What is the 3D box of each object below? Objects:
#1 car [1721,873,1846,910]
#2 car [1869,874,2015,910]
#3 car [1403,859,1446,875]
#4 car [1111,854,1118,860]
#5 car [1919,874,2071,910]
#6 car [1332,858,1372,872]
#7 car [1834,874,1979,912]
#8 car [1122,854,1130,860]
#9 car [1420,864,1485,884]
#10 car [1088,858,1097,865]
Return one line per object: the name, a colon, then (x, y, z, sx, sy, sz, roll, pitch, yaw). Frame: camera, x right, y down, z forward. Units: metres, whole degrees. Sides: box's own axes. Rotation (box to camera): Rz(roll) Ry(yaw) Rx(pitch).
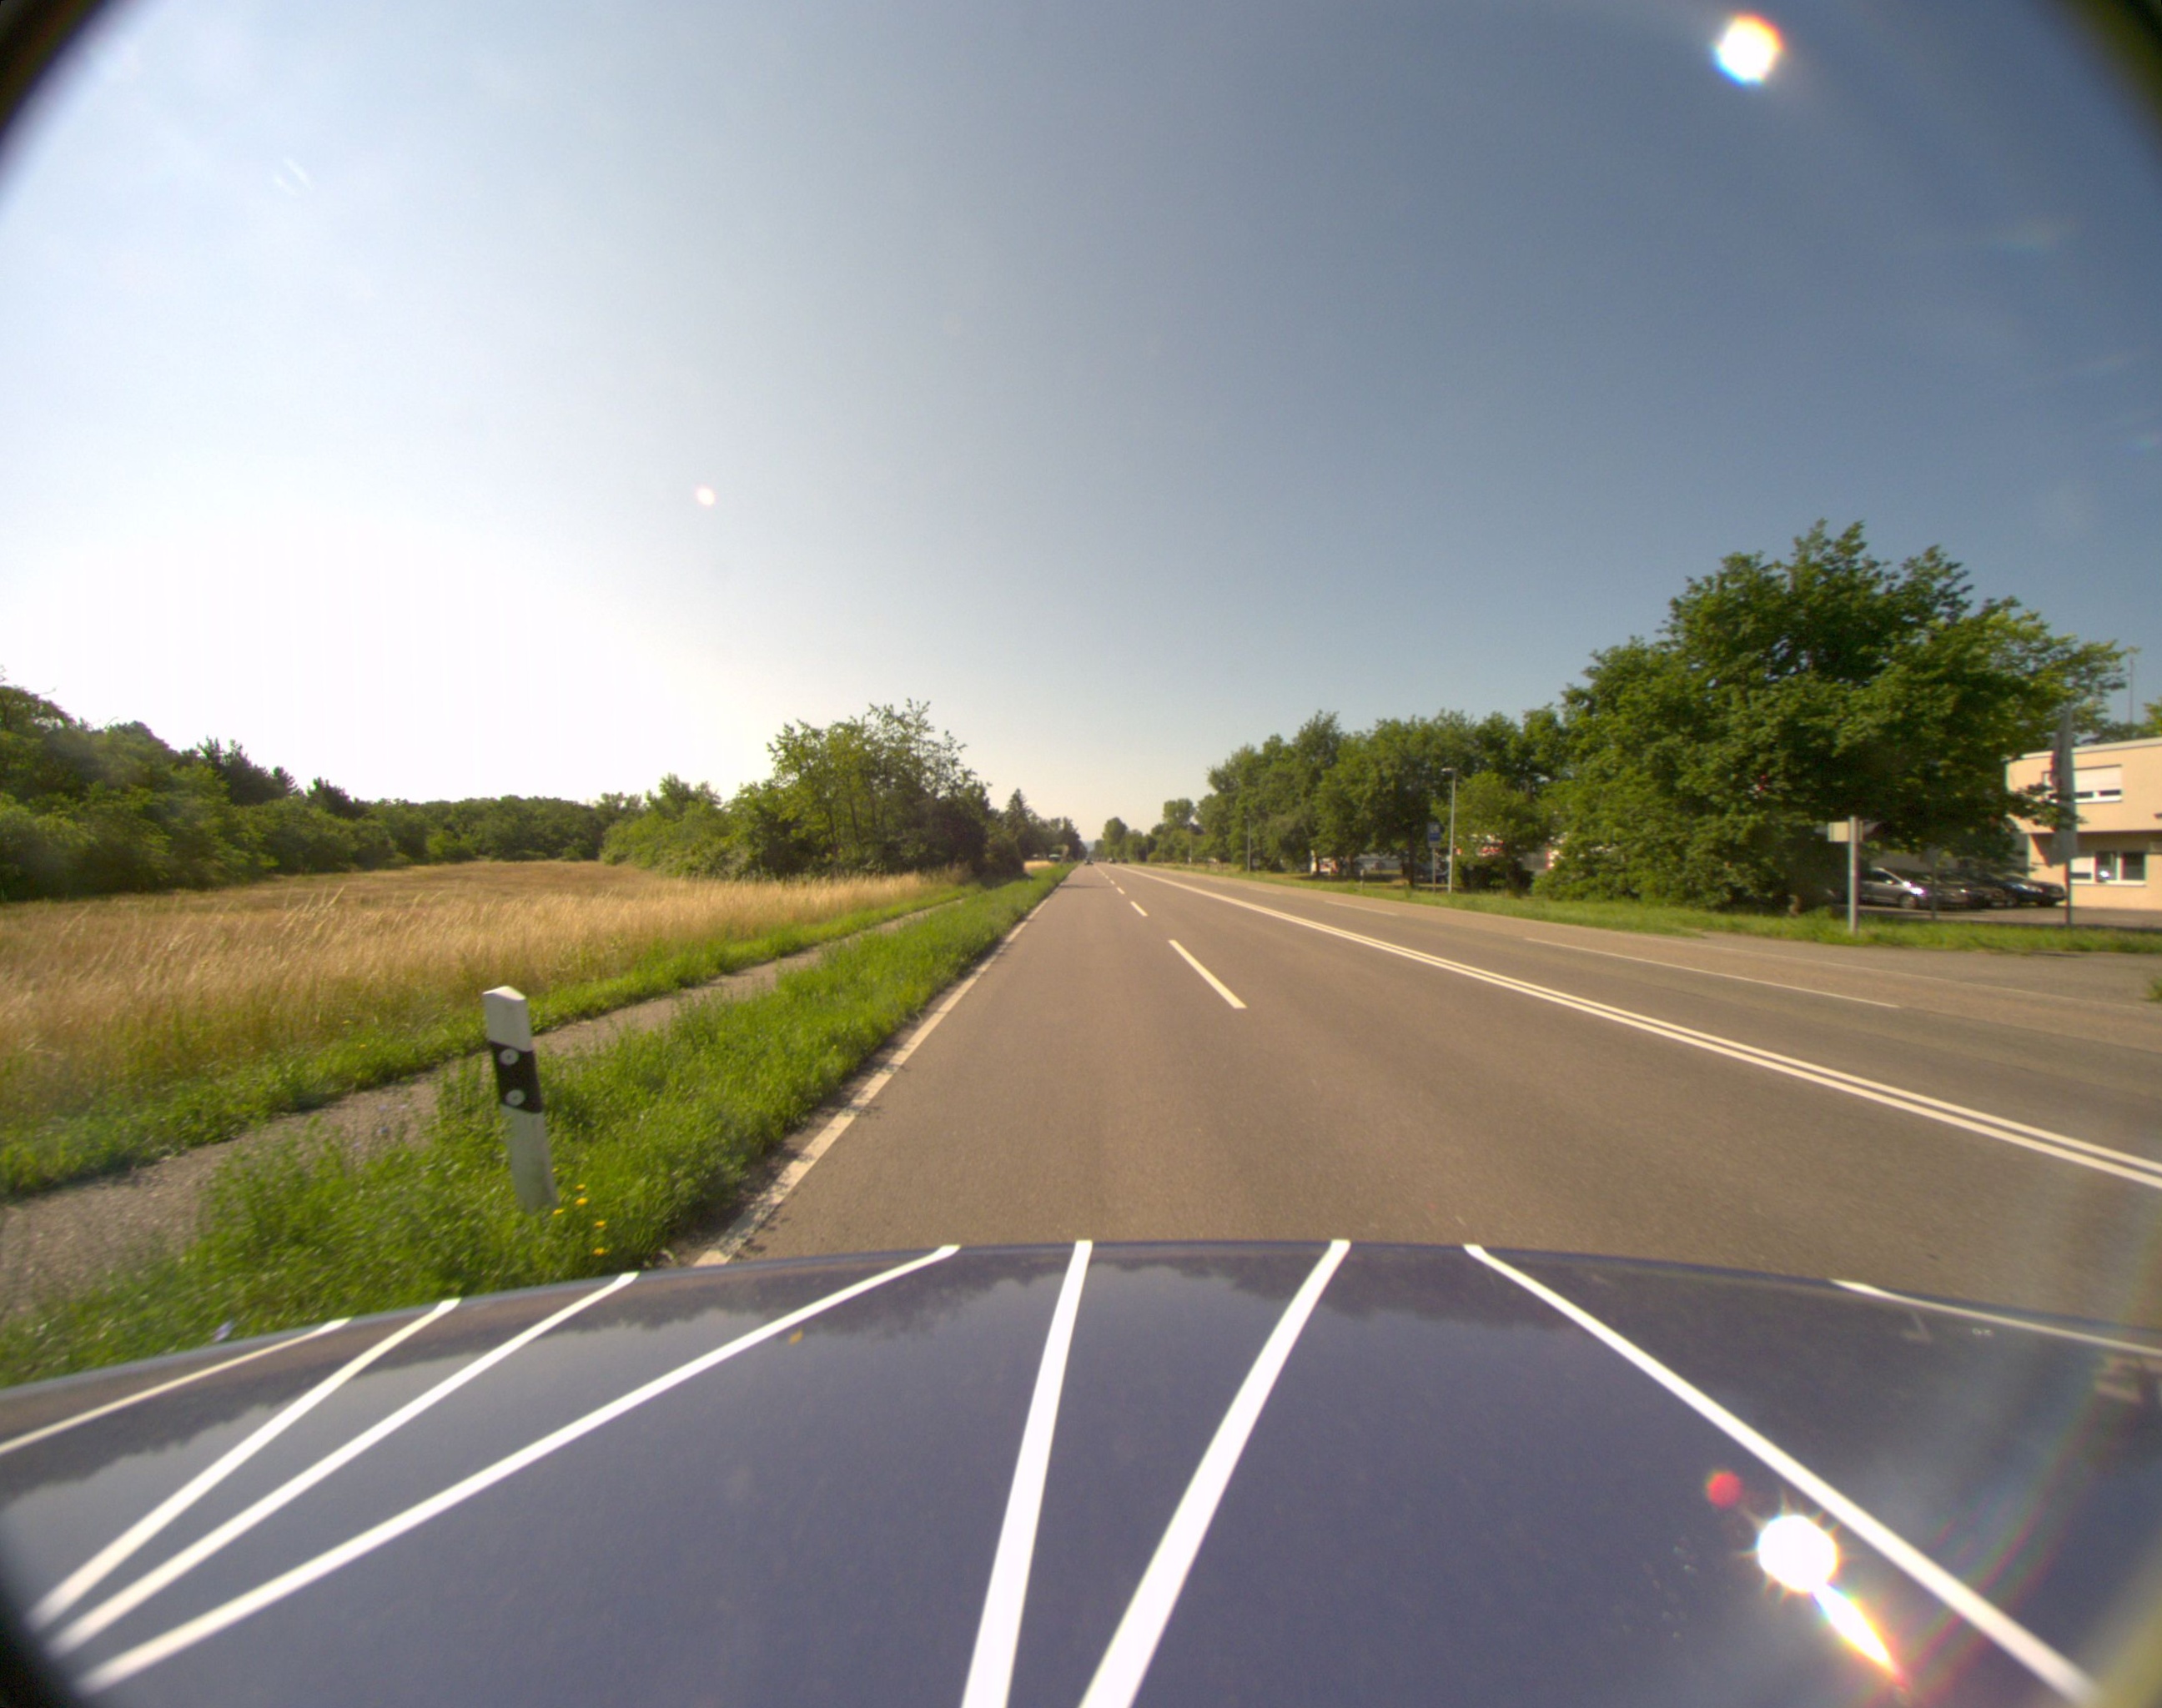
car: (29.839, 1.551, 32.448, 1.676, 1.342, 4.000, 0, 0, 0)
car: (36.549, 1.572, 32.430, 1.676, 1.342, 4.000, 0, 0, 0)
car: (32.337, 1.212, 71.751, 1.792, 1.341, 4.662, 1, 0, -2)
car: (8.643, 0.796, 194.395, 1.520, 1.442, 3.775, 2, 0, 0)
car: (38.958, 1.577, 32.549, 1.676, 1.342, 4.000, 0, 0, 0)
car: (31.419, 1.265, 88.259, 3.997, 1.492, 1.757, 0, 0, 0)
car: (34.092, 1.571, 31.560, 1.676, 1.342, 4.000, 0, 0, 0)
car: (11.797, 0.767, 198.947, 1.830, 1.662, 4.389, 2, 0, -1)
car: (30.299, 1.618, 62.015, 4.361, 1.318, 1.857, 3, 1, 0)
car: (2.348, 1.478, 155.854, 1.768, 1.403, 4.001, 0, -1, 1)
